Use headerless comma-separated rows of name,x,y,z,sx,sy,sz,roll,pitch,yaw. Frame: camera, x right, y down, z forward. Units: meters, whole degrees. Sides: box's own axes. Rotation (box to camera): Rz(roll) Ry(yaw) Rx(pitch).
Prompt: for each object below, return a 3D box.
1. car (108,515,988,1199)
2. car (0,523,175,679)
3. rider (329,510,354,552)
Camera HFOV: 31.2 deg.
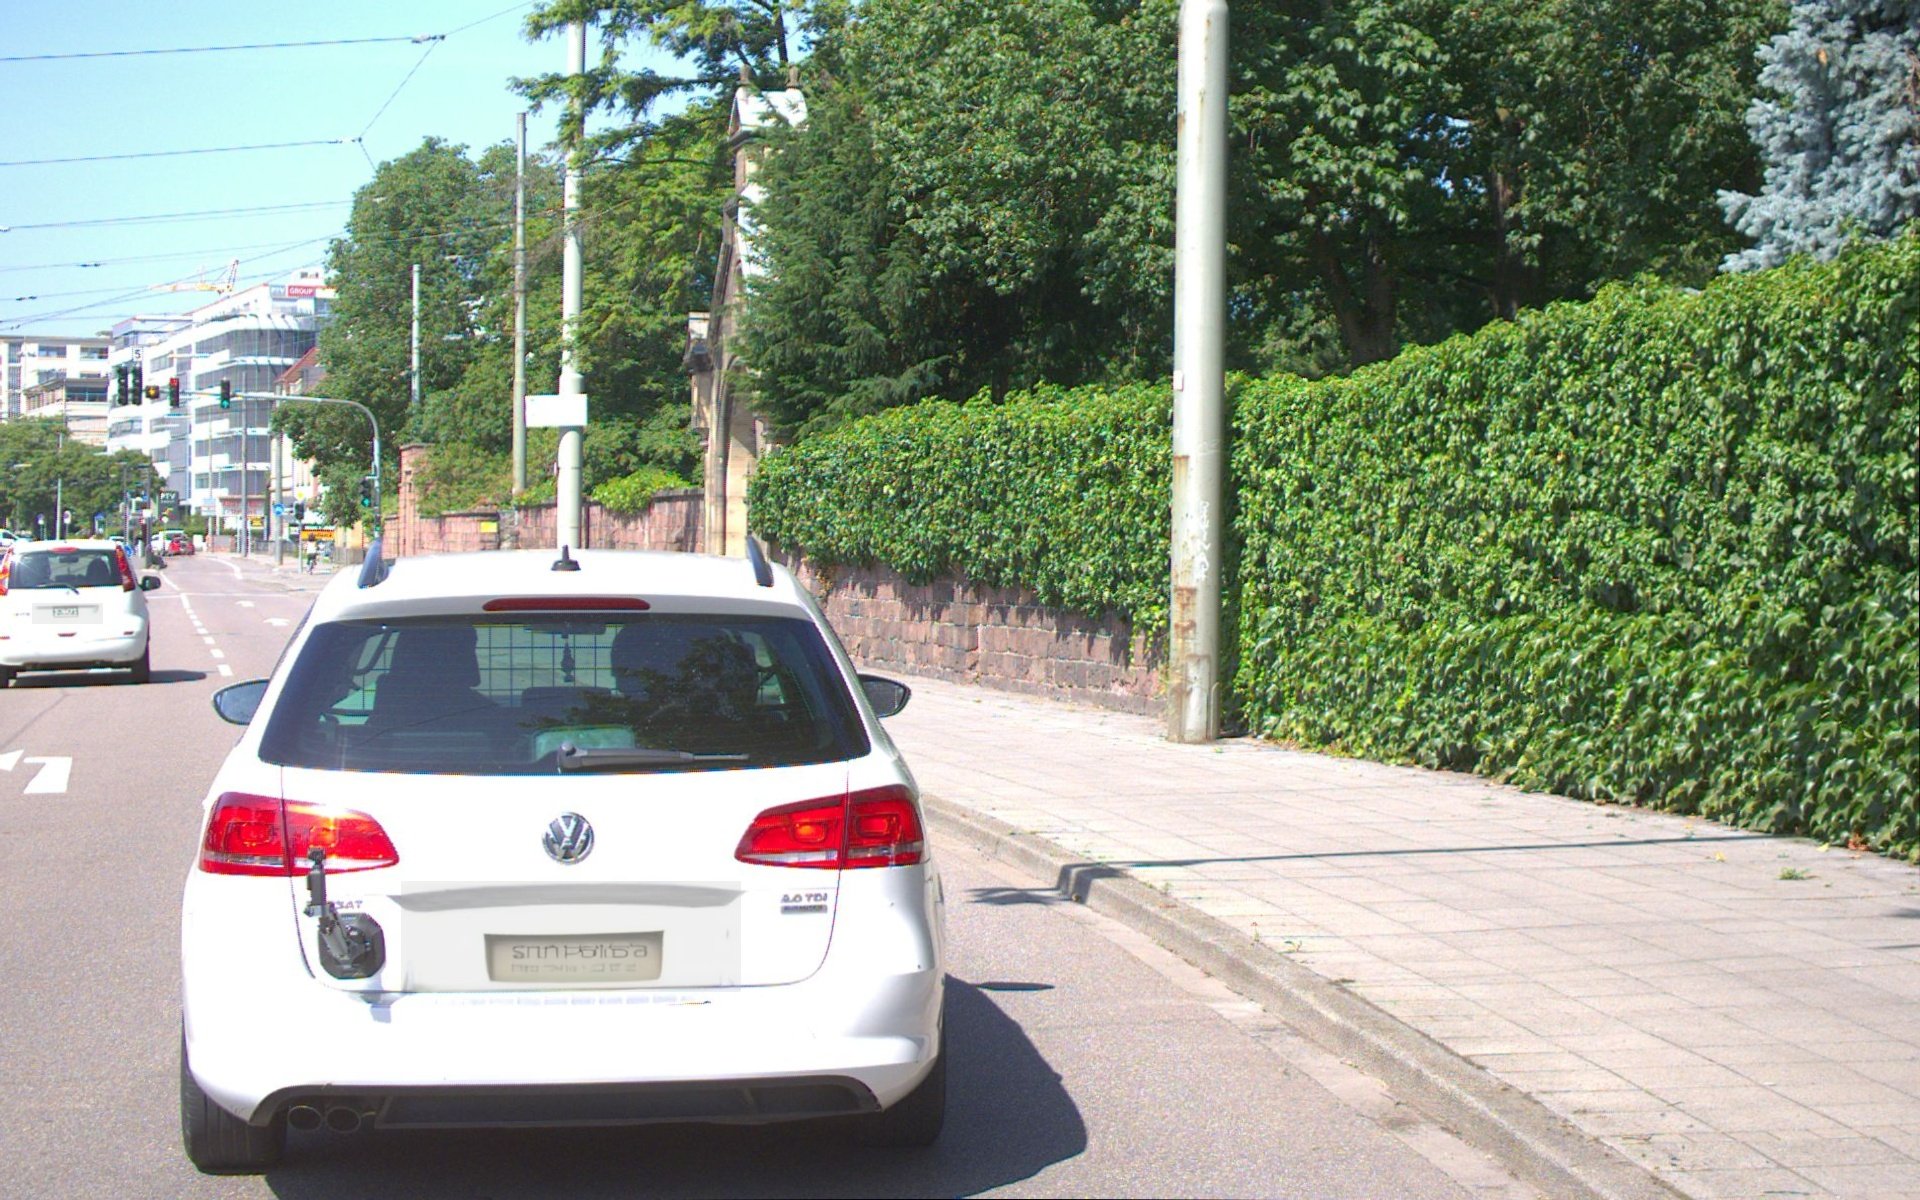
car,-1.010,0.529,8.922,1.778,1.485,3.847,0,1,-5
car,-9.633,-0.035,37.659,1.730,1.590,4.012,0,1,-9
rider,-25.491,-2.845,141.662,0.891,1.722,2.204,0,1,-12
